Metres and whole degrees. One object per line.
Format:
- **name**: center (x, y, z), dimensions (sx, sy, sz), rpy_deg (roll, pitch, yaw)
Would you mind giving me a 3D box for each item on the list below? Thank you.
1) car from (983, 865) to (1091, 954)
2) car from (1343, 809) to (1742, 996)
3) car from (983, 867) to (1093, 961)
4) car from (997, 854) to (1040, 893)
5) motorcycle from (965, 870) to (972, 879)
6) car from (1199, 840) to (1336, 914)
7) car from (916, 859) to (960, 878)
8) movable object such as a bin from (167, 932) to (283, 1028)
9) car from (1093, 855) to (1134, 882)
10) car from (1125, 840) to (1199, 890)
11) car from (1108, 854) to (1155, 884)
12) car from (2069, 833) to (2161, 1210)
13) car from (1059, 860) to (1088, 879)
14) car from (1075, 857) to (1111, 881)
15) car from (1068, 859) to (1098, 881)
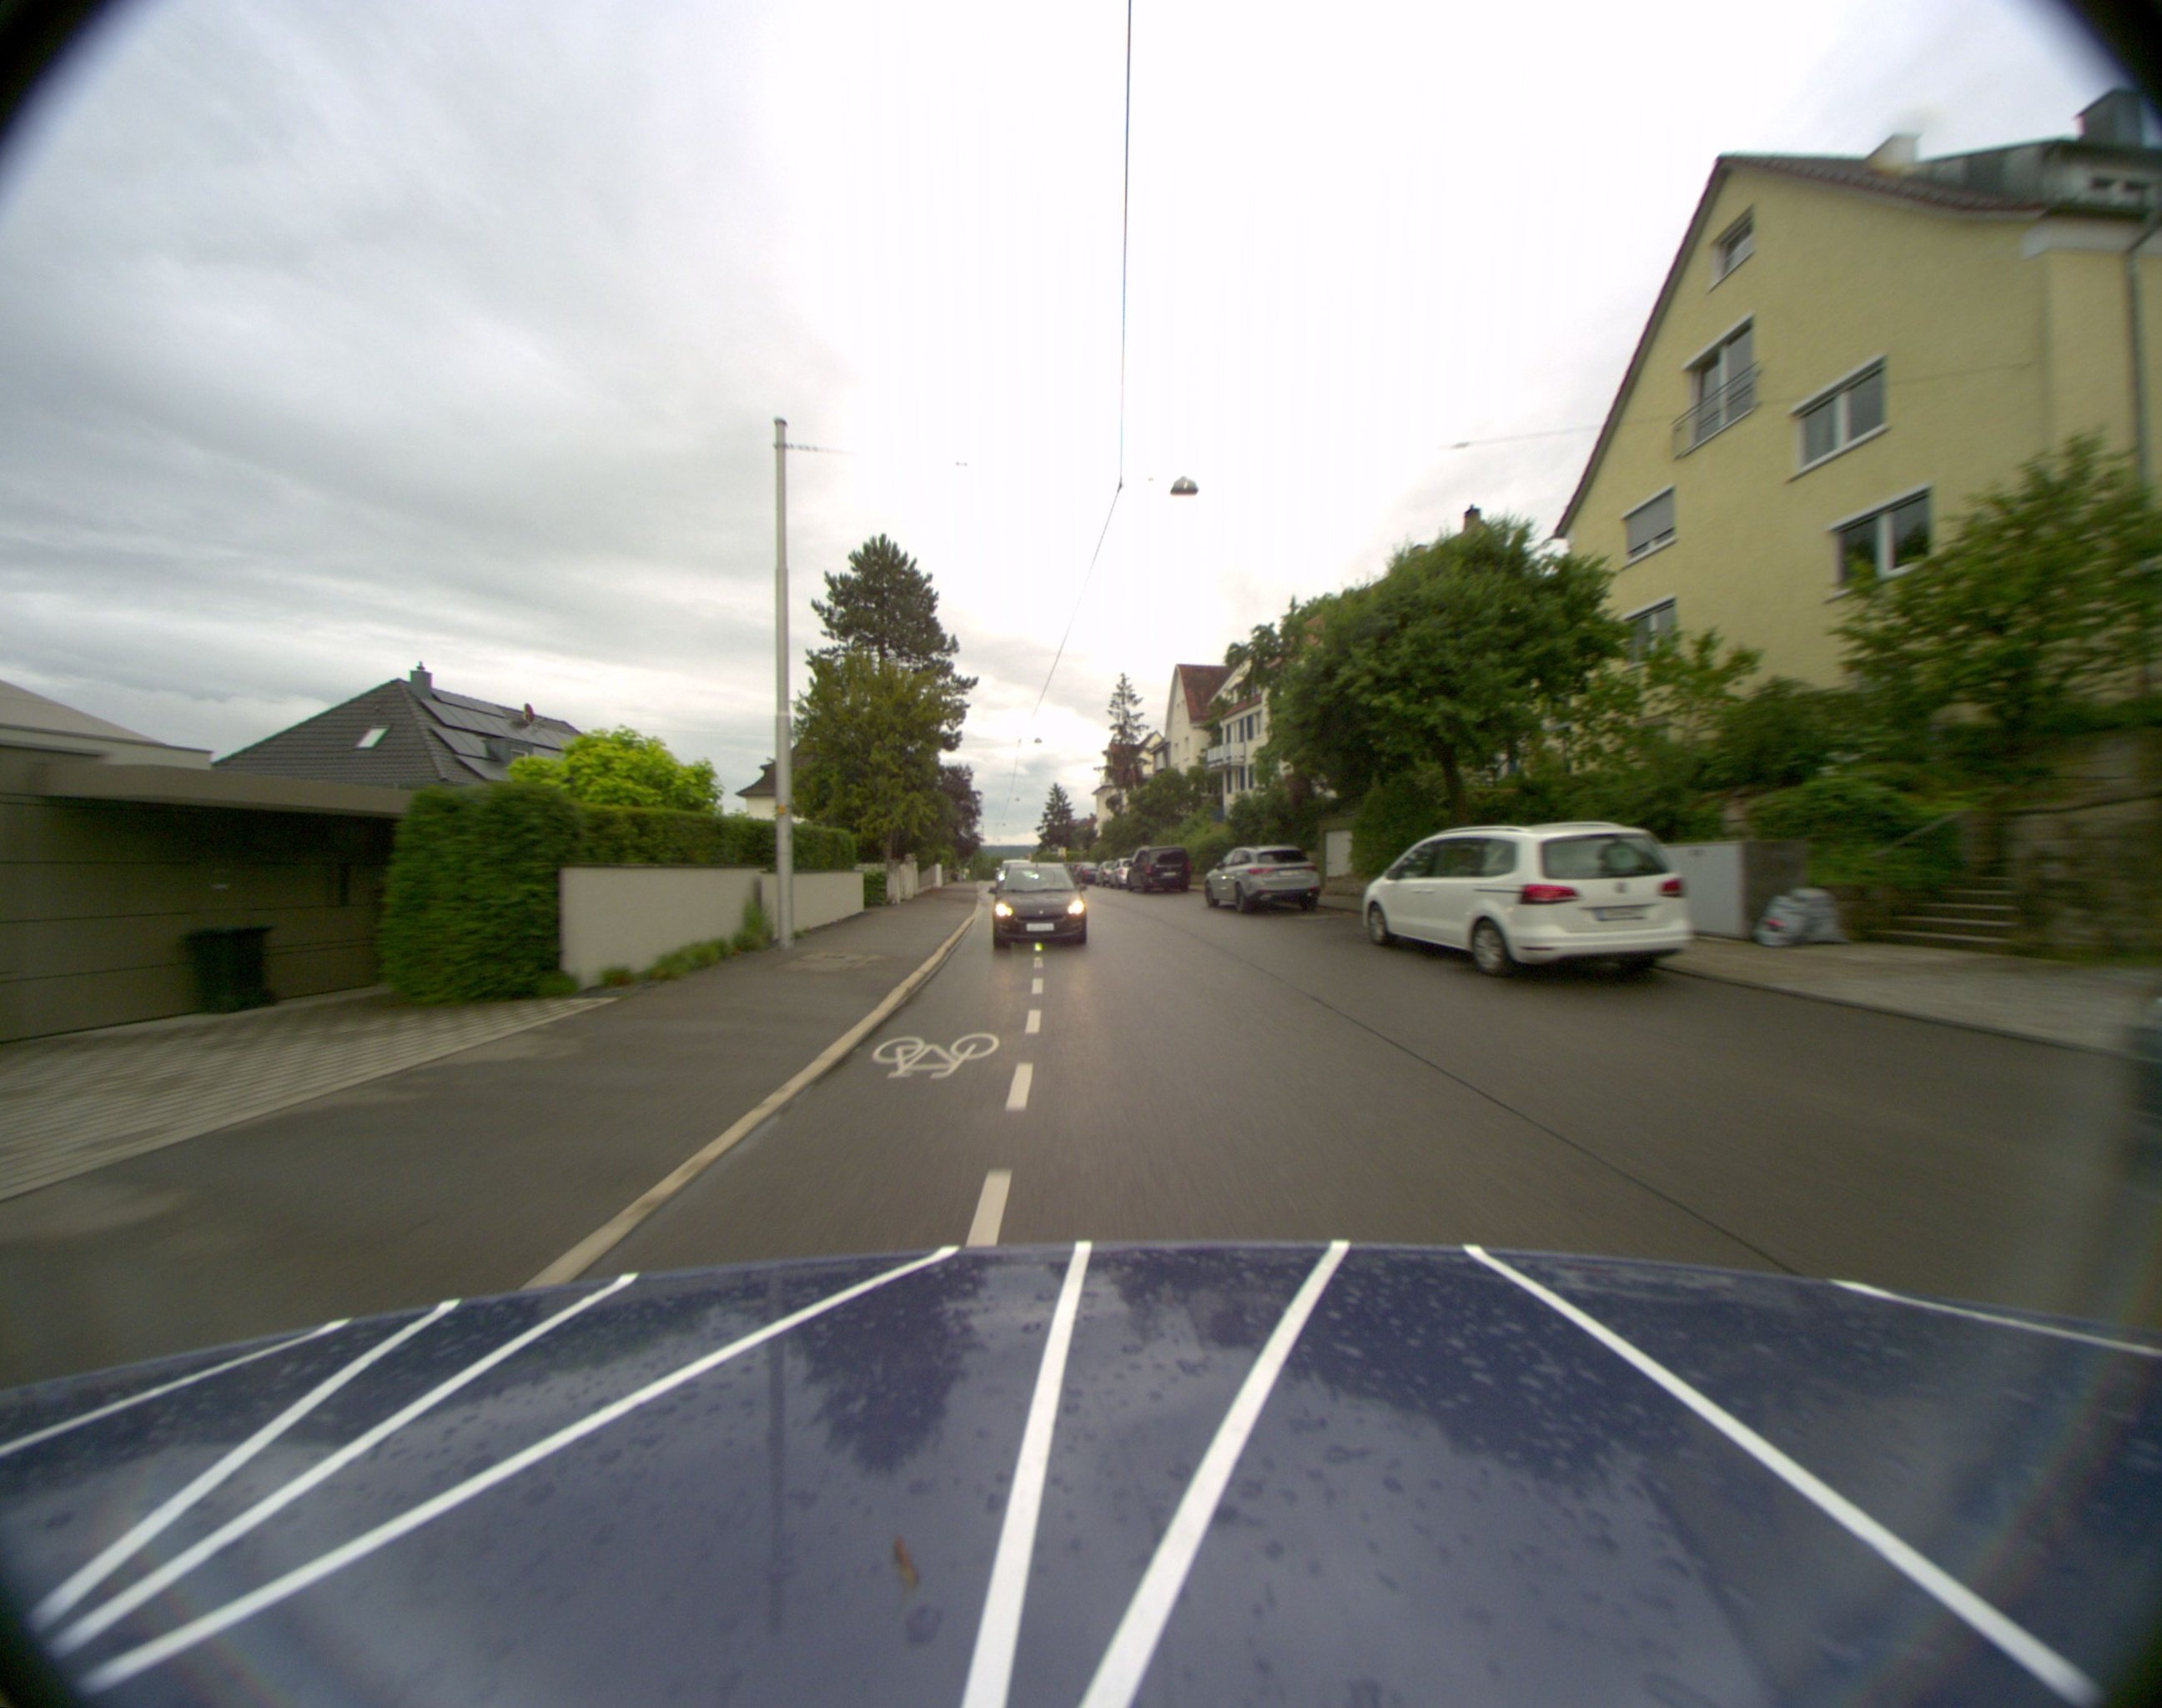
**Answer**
- **car**: center (-0.714, 0.959, 14.757), dimensions (1.711, 1.414, 4.001), rpy_deg (-2, 0, 2)
- **car**: center (5.387, 0.491, 9.862), dimensions (1.999, 1.692, 4.737), rpy_deg (-4, 0, -3)
- **car**: center (-0.699, 1.095, 14.772), dimensions (1.696, 1.481, 3.942), rpy_deg (-4, -3, 2)
- **car**: center (-3.067, 0.907, 36.684), dimensions (1.867, 1.704, 3.998), rpy_deg (-2, 0, -6)
- **motorcycle**: center (-16.922, 3.121, 114.151), dimensions (0.695, 1.218, 2.153), rpy_deg (5, -2, -3)
- **car**: center (4.743, 0.559, 20.141), dimensions (1.999, 1.571, 4.759), rpy_deg (-4, 0, -5)
- **car**: center (-13.653, 1.363, 72.882), dimensions (4.000, 1.629, 1.918), rpy_deg (-2, -2, -8)
- **movable object such as a bin**: center (-9.100, 1.325, 8.093), dimensions (0.575, 0.931, 0.590), rpy_deg (-3, -2, 7)
- **car**: center (1.860, 0.863, 44.370), dimensions (1.651, 1.438, 3.627), rpy_deg (-2, -2, -8)
- **car**: center (3.373, 0.472, 32.939), dimensions (2.000, 1.867, 5.354), rpy_deg (-3, 0, -7)
- **car**: center (2.527, 0.757, 39.070), dimensions (1.699, 1.438, 3.811), rpy_deg (-2, 0, -7)
- **car**: center (5.408, 0.641, 1.361), dimensions (1.796, 1.571, 4.138), rpy_deg (-4, 0, 0)
- **car**: center (-0.652, 1.290, 63.108), dimensions (1.899, 1.438, 3.813), rpy_deg (-2, -2, -7)
- **car**: center (0.771, 1.069, 51.940), dimensions (1.761, 1.438, 4.414), rpy_deg (-2, -2, -8)
- **car**: center (0.129, 1.208, 57.315), dimensions (1.702, 1.532, 3.811), rpy_deg (-2, -1, -8)
